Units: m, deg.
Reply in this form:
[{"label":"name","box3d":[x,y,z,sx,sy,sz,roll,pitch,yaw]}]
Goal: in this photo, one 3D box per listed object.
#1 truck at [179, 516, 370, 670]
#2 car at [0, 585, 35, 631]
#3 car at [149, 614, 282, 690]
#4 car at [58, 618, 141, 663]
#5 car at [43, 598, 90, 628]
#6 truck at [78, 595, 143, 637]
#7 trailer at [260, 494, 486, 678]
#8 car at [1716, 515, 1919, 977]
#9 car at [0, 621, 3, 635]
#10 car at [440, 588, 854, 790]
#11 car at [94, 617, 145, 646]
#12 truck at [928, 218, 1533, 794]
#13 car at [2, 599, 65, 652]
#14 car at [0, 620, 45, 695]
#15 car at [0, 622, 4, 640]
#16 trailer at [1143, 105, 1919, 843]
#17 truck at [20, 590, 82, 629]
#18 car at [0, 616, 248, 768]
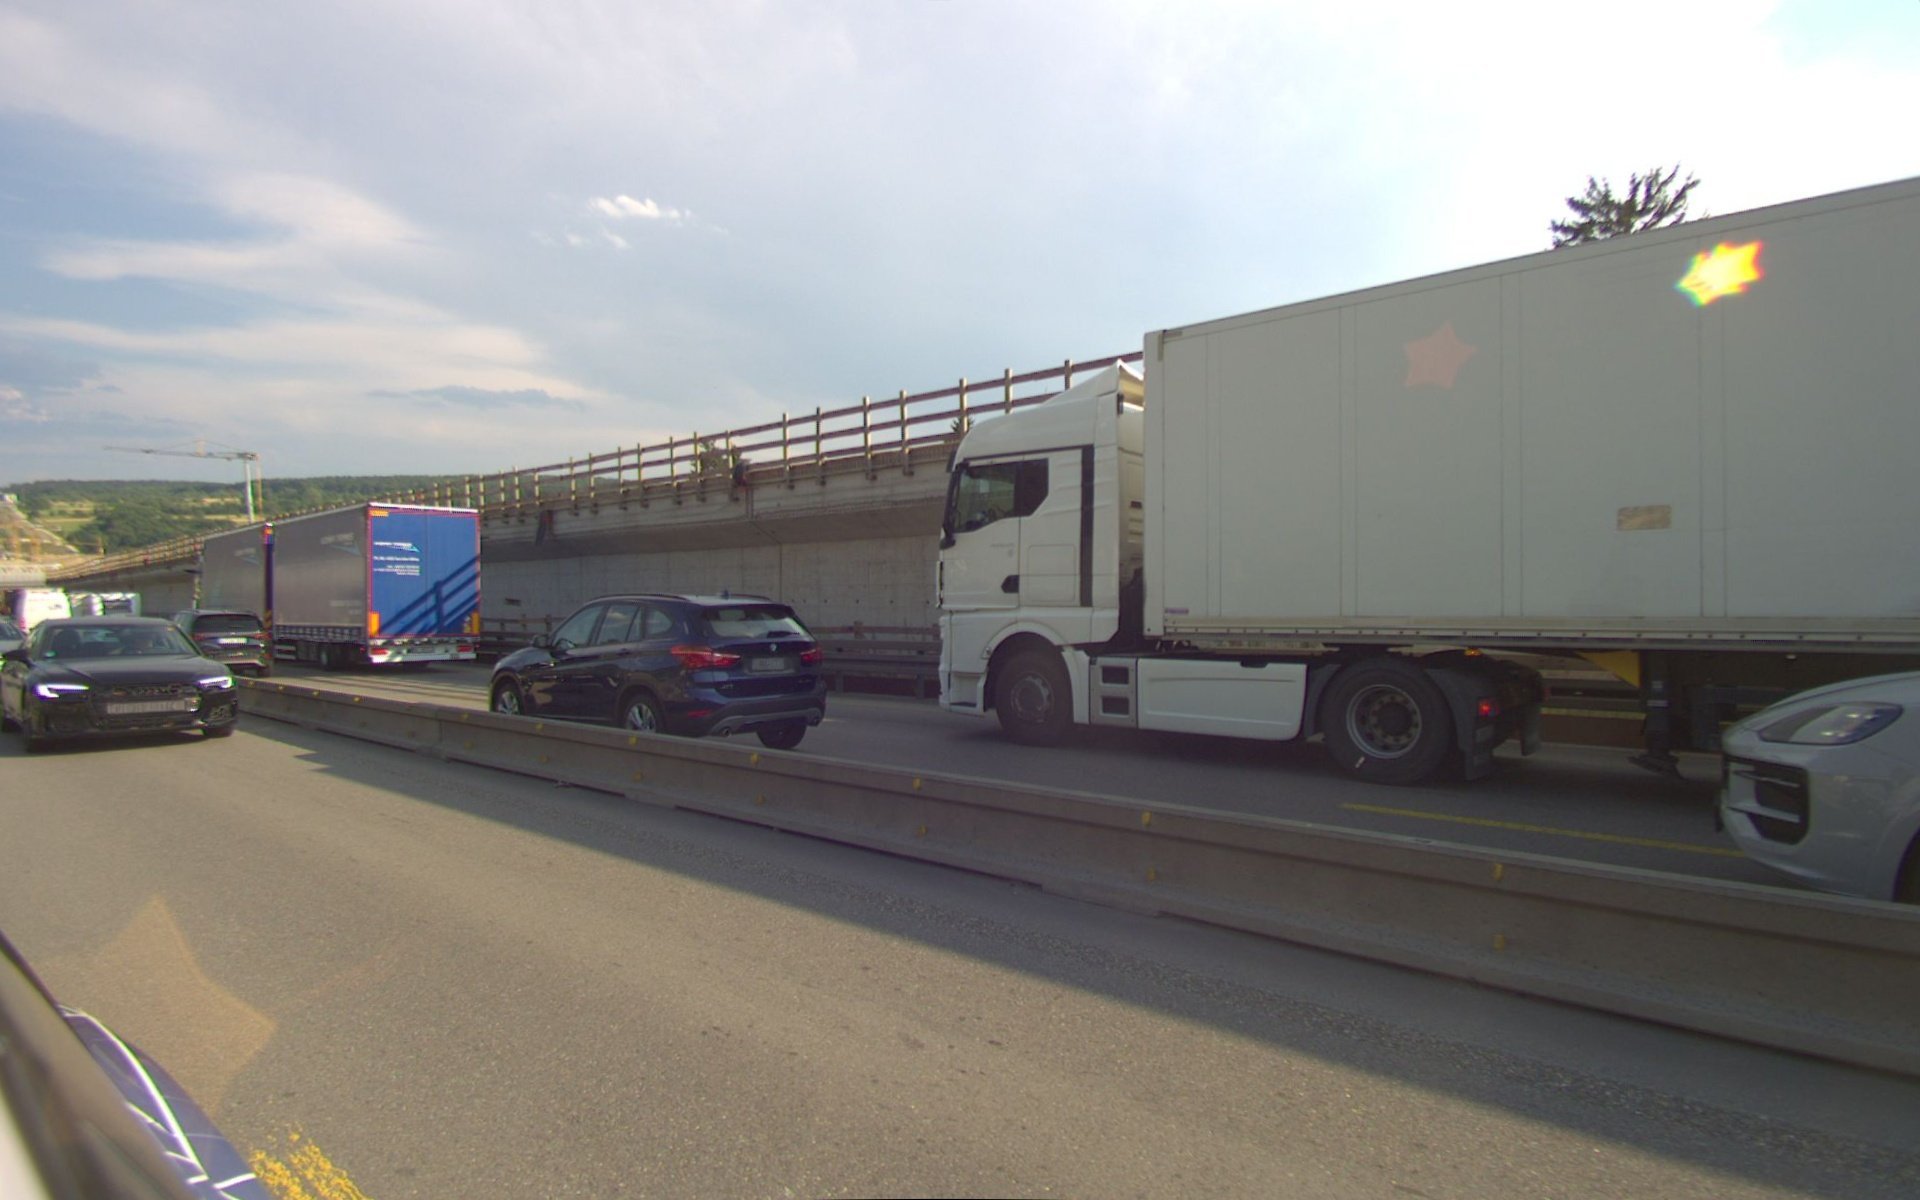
[{"label":"truck","box3d":[-22.552,-0.135,32.941,10.579,4.290,2.785,-1,-1,42]},{"label":"car","box3d":[-117.847,1.053,125.972,14.304,5.428,3.282,-1,-1,45]},{"label":"car","box3d":[-17.296,1.131,23.434,4.369,1.588,1.681,-1,-1,42]},{"label":"car","box3d":[-31.109,1.439,36.551,4.591,1.451,1.723,-1,1,43]},{"label":"car","box3d":[-66.534,0.954,75.374,3.973,2.037,2.185,-1,3,43]},{"label":"truck","box3d":[-51.937,0.967,61.836,6.064,2.318,2.250,-1,3,44]},{"label":"trailer","box3d":[-15.593,-0.272,26.553,8.286,4.136,2.785,-1,-1,43]},{"label":"car","box3d":[5.532,0.478,3.162,4.971,1.667,1.988,0,2,40]},{"label":"car","box3d":[-93.030,2.703,96.999,3.665,1.329,1.689,-1,3,43]},{"label":"car","box3d":[-3.444,0.742,10.612,4.728,1.618,1.862,0,2,40]},{"label":"car","box3d":[-44.928,1.660,54.058,1.689,1.397,4.003,-5,3,-44]},{"label":"truck","box3d":[2.496,-0.681,10.366,5.471,4.348,2.430,-1,-1,41]},{"label":"car","box3d":[-48.211,1.312,52.612,5.613,2.636,1.974,-1,-2,43]},{"label":"car","box3d":[-20.766,1.168,21.140,4.113,1.498,1.788,-1,-1,38]},{"label":"car","box3d":[-75.770,2.458,78.793,3.665,1.329,1.689,-1,3,43]},{"label":"trailer","box3d":[7.675,-0.760,5.800,13.769,4.353,2.430,-1,-1,41]},{"label":"truck","box3d":[-76.295,0.794,84.881,6.488,3.169,3.200,-1,-1,42]},{"label":"car","box3d":[-10.563,0.962,12.442,5.222,1.491,1.919,-1,-2,43]}]
